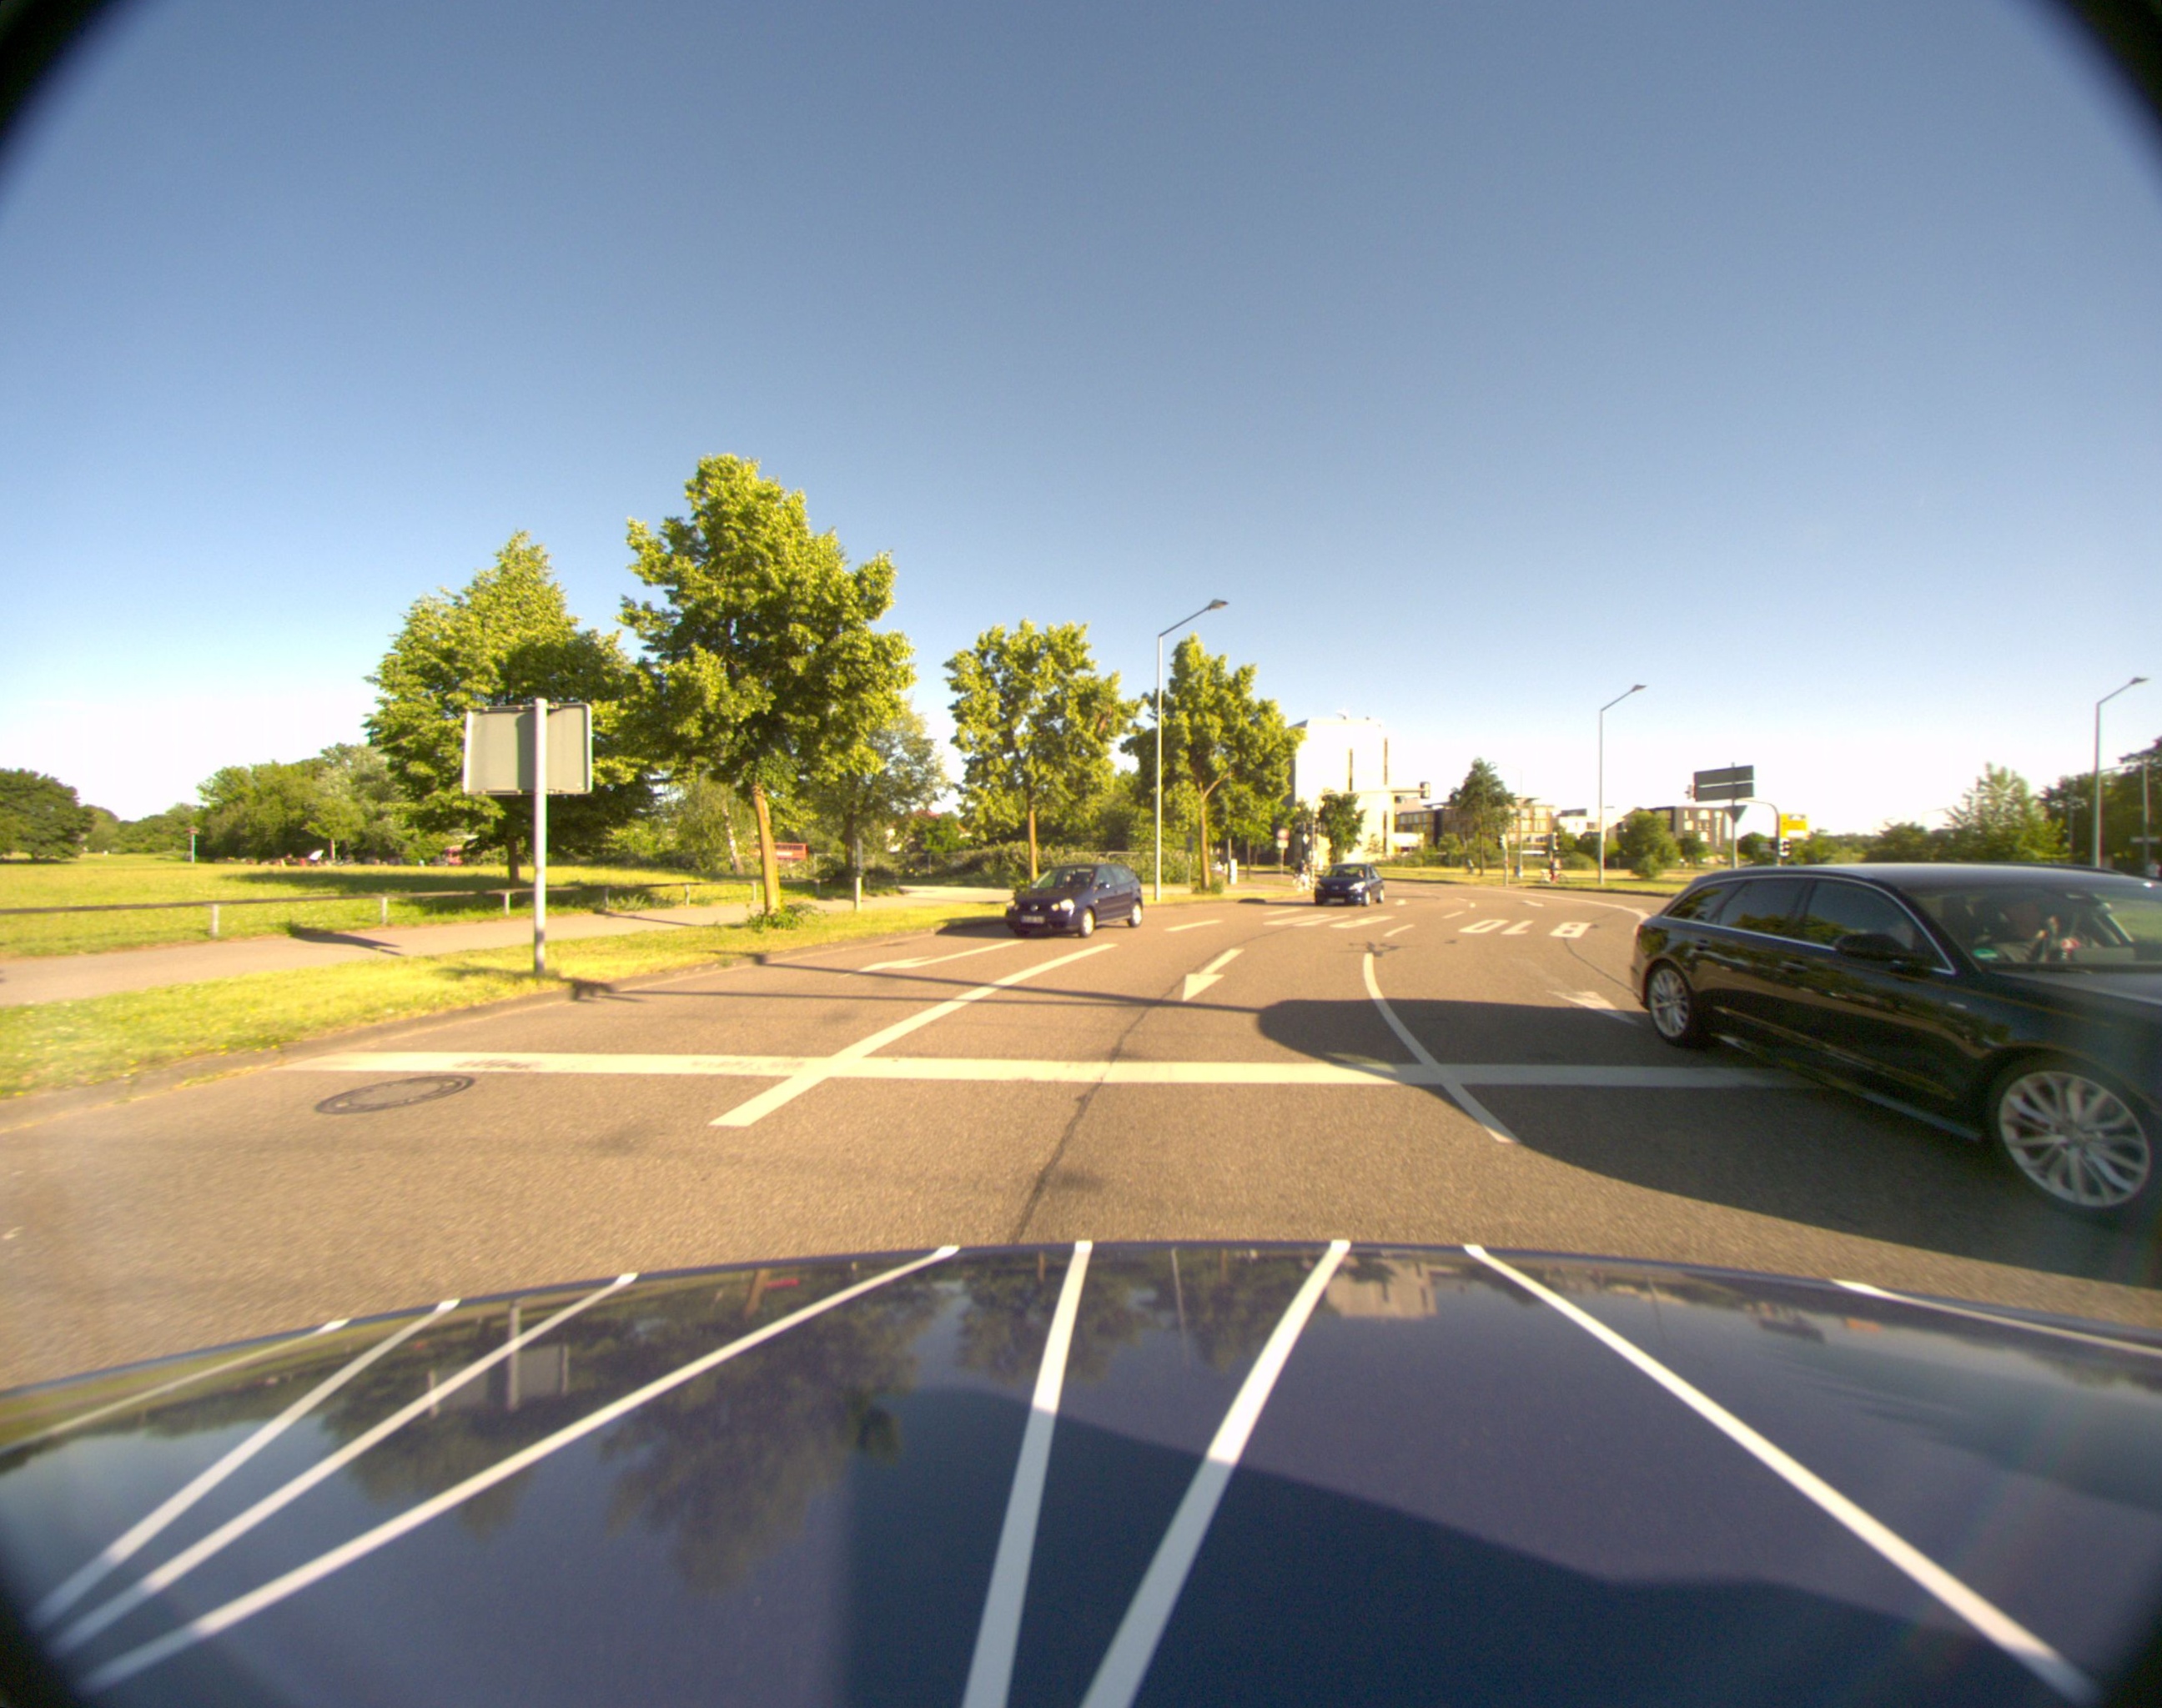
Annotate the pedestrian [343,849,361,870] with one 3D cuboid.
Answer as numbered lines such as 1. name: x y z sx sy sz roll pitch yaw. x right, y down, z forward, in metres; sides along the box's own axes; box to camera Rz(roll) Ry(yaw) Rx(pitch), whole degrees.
1. pedestrian: -50.812 0.378 52.941 0.662 1.432 0.793 0 0 -23

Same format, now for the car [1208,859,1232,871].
1. car: 16.204 1.254 88.874 1.936 1.371 4.536 0 0 0

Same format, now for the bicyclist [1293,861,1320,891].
1. bicyclist: 12.111 1.155 40.815 1.089 1.553 0.874 1 1 -30

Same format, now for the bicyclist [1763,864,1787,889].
1. bicyclist: 43.176 1.401 47.275 0.925 1.508 0.617 0 0 -1

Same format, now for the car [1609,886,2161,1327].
1. car: 5.101 0.974 4.254 1.795 1.434 5.023 0 -1 13

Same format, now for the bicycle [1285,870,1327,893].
1. bicycle: 12.086 1.483 40.805 2.220 1.148 0.874 1 1 -30

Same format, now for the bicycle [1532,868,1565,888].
1. bicycle: 27.886 1.414 45.328 1.656 1.122 0.703 0 1 -16

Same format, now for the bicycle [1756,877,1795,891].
1. bicycle: 43.226 1.863 47.283 1.888 0.847 0.617 0 0 -1

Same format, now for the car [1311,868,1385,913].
1. car: 9.403 1.221 26.575 1.753 1.445 4.008 -1 -1 30

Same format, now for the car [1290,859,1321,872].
1. car: 28.049 1.428 95.201 2.010 1.532 4.321 0 0 -10

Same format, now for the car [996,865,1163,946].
1. car: 0.148 0.992 16.461 1.634 1.459 4.555 0 0 29

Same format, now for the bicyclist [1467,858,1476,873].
1. bicyclist: 41.347 1.222 80.508 0.433 1.555 0.851 0 0 -3

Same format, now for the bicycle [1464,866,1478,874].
1. bicycle: 41.333 1.721 80.552 0.491 0.847 1.888 0 0 -3

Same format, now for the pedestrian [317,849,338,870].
1. pedestrian: -52.141 0.411 52.581 0.775 1.432 0.793 0 0 -23

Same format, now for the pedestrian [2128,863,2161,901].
1. pedestrian: 57.381 1.482 40.991 0.941 1.994 0.590 1 0 45

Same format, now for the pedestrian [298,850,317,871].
1. pedestrian: -52.885 0.443 51.945 0.688 1.432 0.793 0 0 -23

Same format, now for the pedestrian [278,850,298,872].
1. pedestrian: -54.072 0.471 51.806 0.688 1.432 0.793 0 0 -23

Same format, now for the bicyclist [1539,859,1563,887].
1. bicyclist: 28.075 1.145 45.388 0.943 1.654 0.703 0 2 -16
